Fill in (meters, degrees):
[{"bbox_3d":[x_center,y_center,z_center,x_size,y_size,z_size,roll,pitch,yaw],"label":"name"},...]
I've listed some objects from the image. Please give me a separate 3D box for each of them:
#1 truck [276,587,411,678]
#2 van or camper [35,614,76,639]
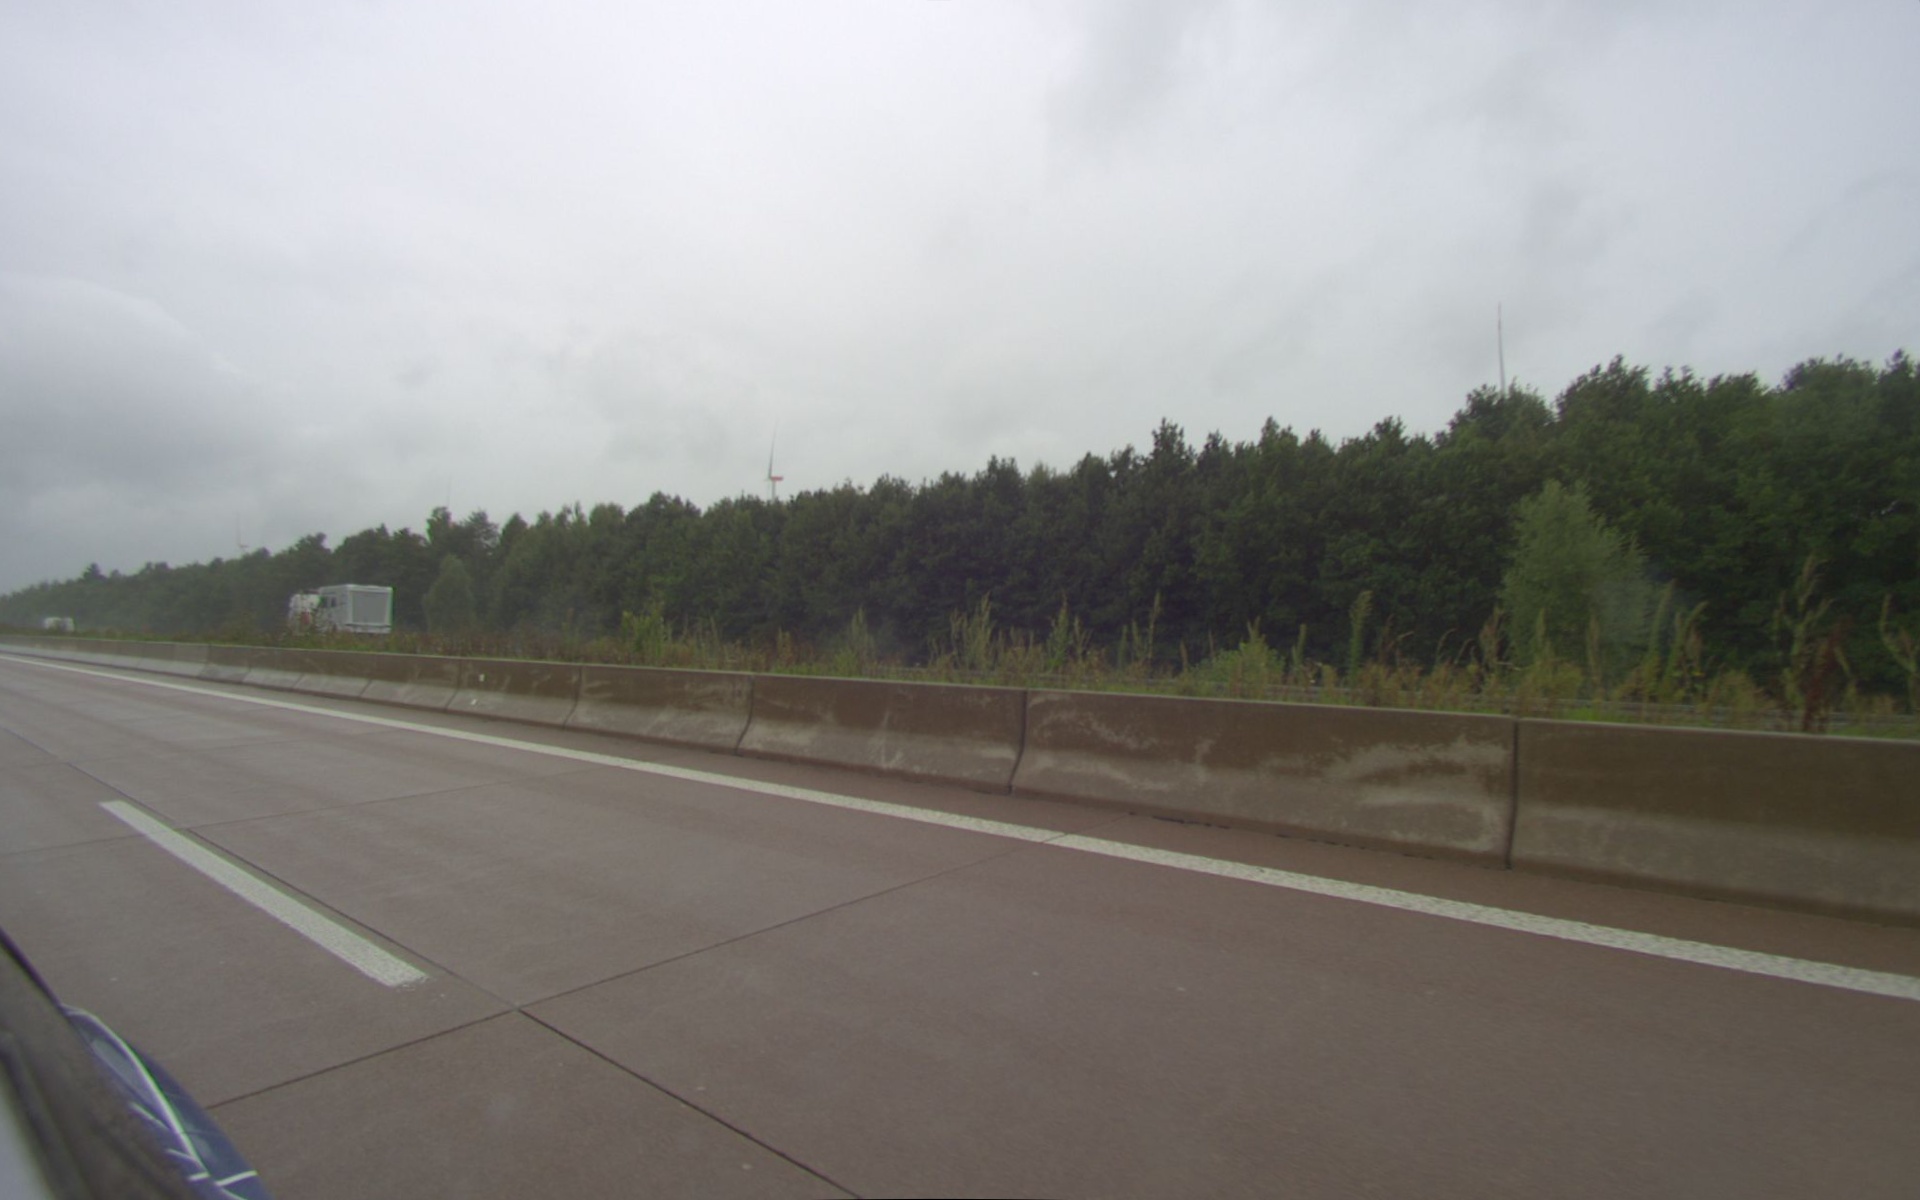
[{"bbox_3d":[-33.274,1.690,54.437,9.547,4.505,3.115,-1,0,39],"label":"truck"},{"bbox_3d":[-87.564,2.548,97.974,5.716,2.222,2.108,-1,0,39],"label":"van or camper"}]
